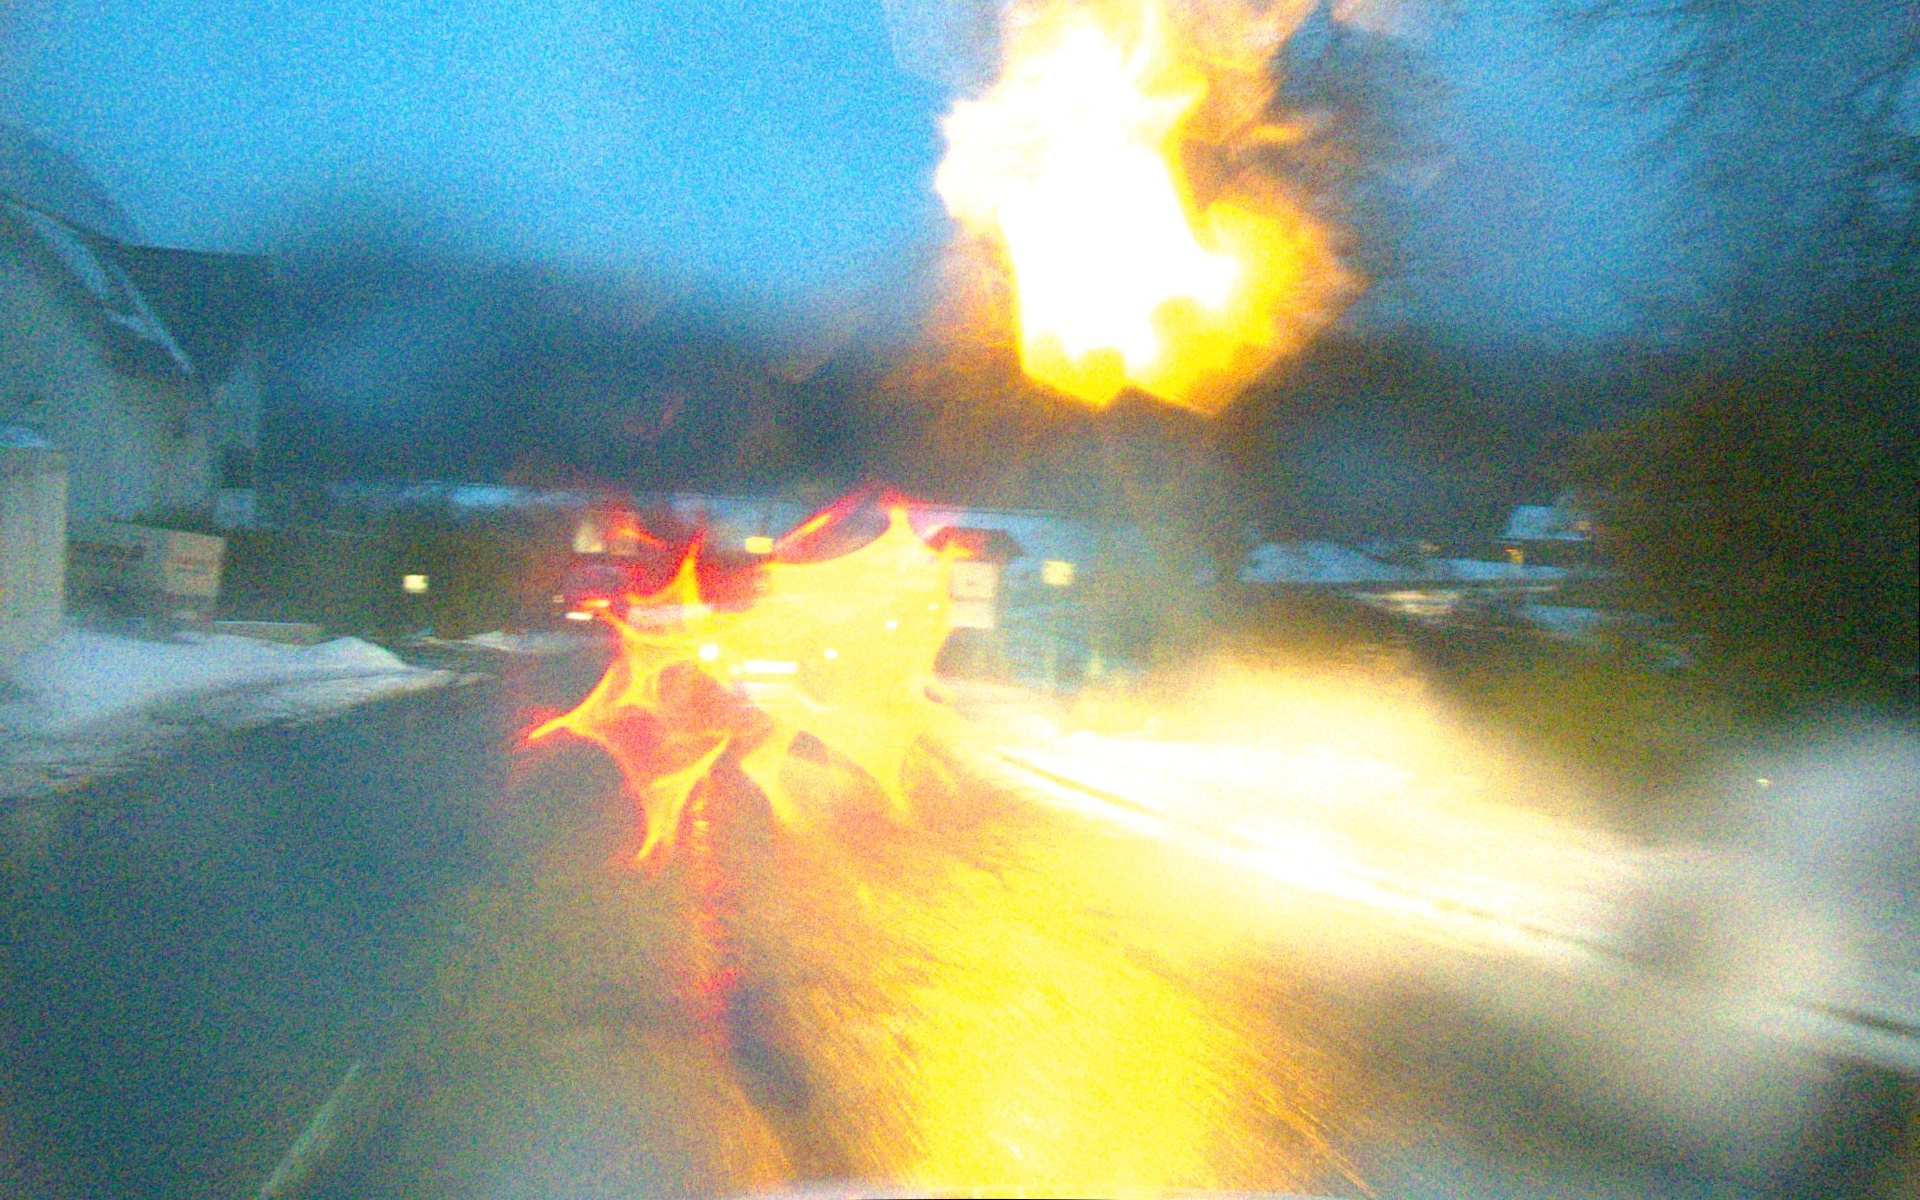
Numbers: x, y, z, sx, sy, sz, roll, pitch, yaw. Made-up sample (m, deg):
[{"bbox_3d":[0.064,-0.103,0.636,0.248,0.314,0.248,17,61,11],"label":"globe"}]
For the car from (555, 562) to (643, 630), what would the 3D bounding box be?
[{"bbox_3d":[-9.357,-0.130,43.038,1.685,1.560,3.514,3,2,-4],"label":"car"}]

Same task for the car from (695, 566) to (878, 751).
[{"bbox_3d":[-2.034,0.548,18.568,1.789,1.828,3.570,-1,2,-10],"label":"car"}]

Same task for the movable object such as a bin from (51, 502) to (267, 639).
[{"bbox_3d":[-11.604,-0.423,24.004,2.315,1.676,1.442,7,1,15],"label":"movable object such as a bin"}]
